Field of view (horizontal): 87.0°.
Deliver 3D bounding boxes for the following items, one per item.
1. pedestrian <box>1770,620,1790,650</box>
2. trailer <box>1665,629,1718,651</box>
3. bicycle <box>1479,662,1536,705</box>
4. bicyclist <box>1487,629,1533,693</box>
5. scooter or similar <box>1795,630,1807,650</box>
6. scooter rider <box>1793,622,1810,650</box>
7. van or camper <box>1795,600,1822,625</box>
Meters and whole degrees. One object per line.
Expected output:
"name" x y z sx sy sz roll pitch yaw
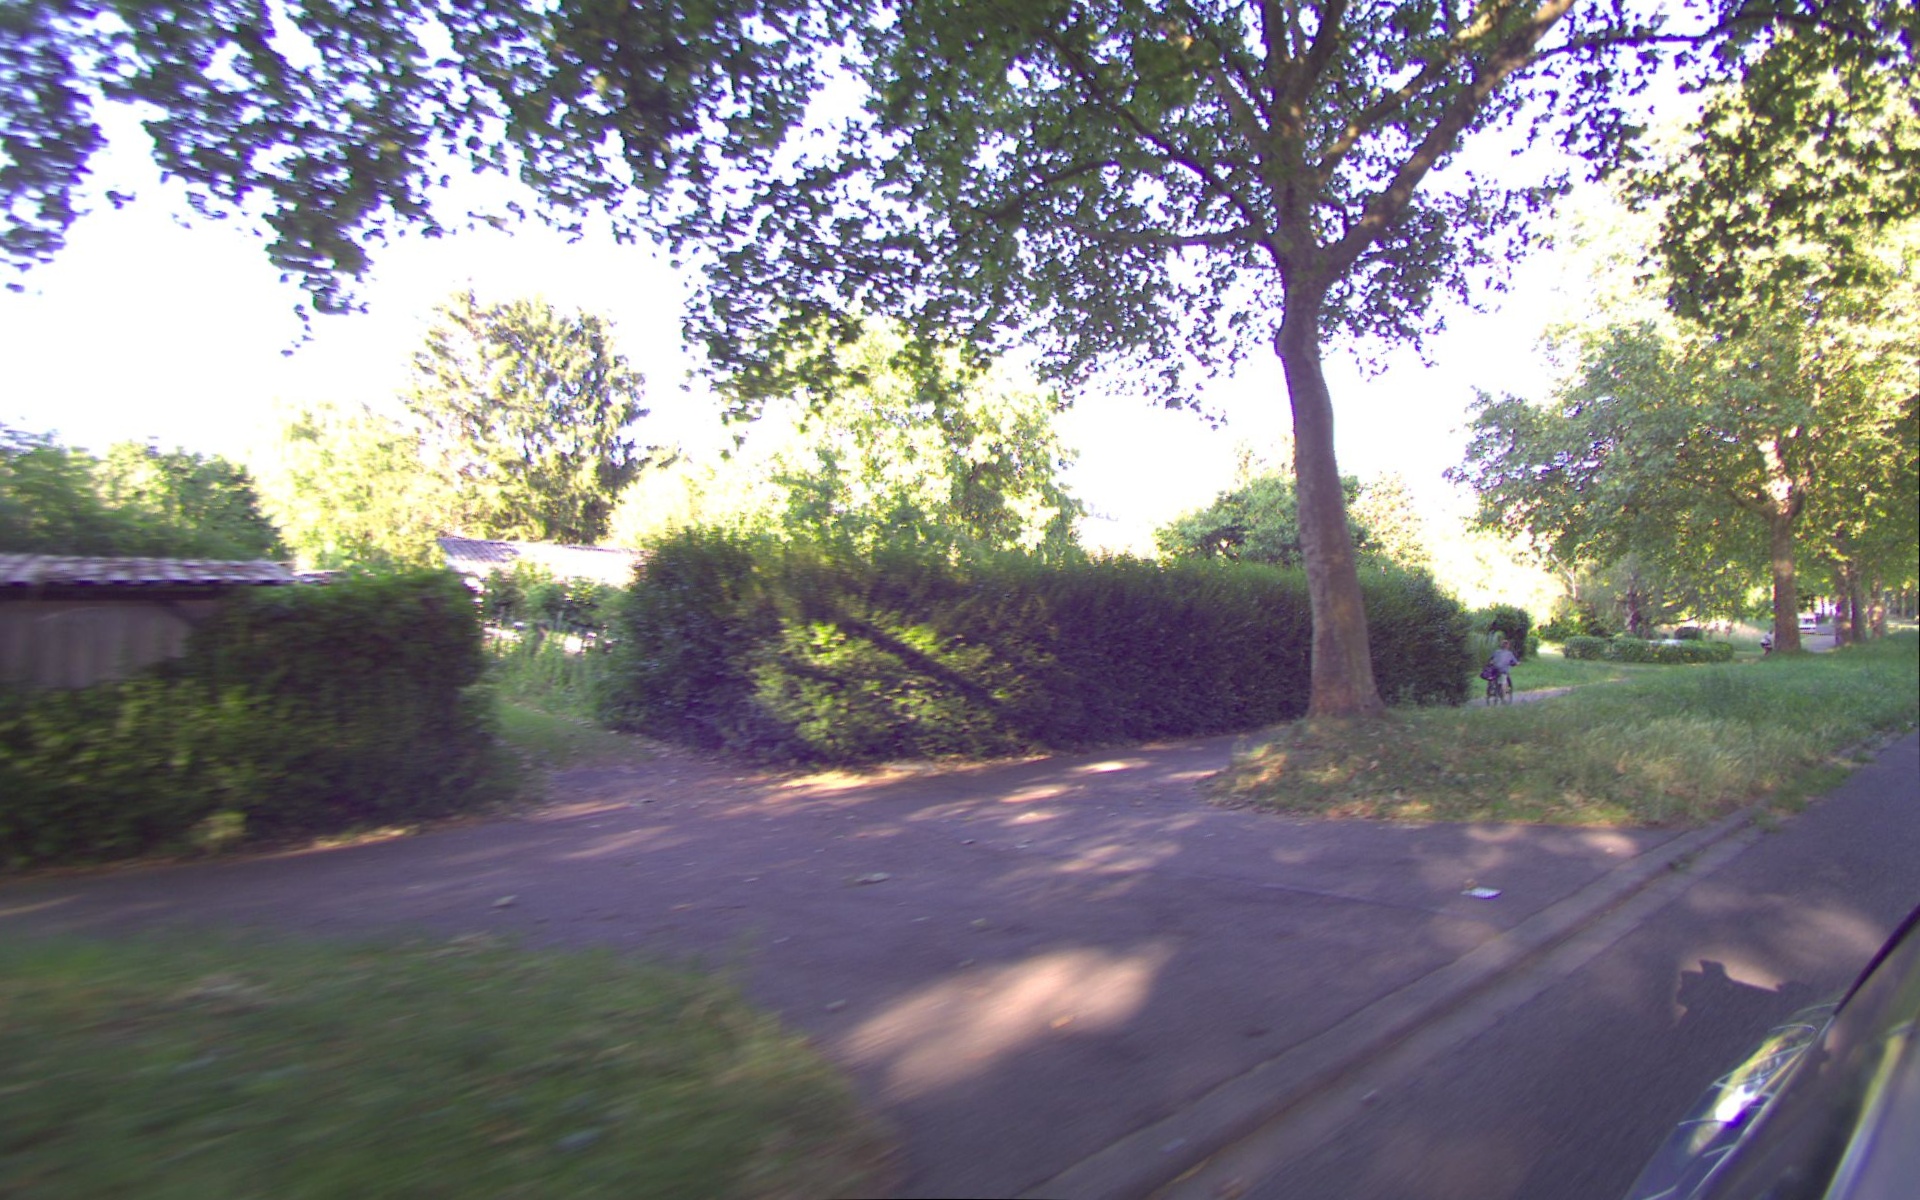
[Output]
"pedestrian" 46.074 1.954 56.886 0.841 1.596 0.773 0 0 41
"trailer" 39.466 2.156 54.595 1.179 1.066 2.122 0 0 -40
"bicycle" 12.462 1.875 23.024 1.856 0.827 0.553 0 0 -42
"bicyclist" 12.562 1.376 23.114 0.758 1.383 0.734 0 0 -43
"scooter or similar" 50.287 2.370 60.478 1.572 1.149 0.340 0 0 -43
"scooter rider" 50.125 2.119 60.315 0.781 1.596 0.833 0 0 40
"van or camper" 100.776 1.500 120.116 2.378 2.835 5.601 0 0 41
